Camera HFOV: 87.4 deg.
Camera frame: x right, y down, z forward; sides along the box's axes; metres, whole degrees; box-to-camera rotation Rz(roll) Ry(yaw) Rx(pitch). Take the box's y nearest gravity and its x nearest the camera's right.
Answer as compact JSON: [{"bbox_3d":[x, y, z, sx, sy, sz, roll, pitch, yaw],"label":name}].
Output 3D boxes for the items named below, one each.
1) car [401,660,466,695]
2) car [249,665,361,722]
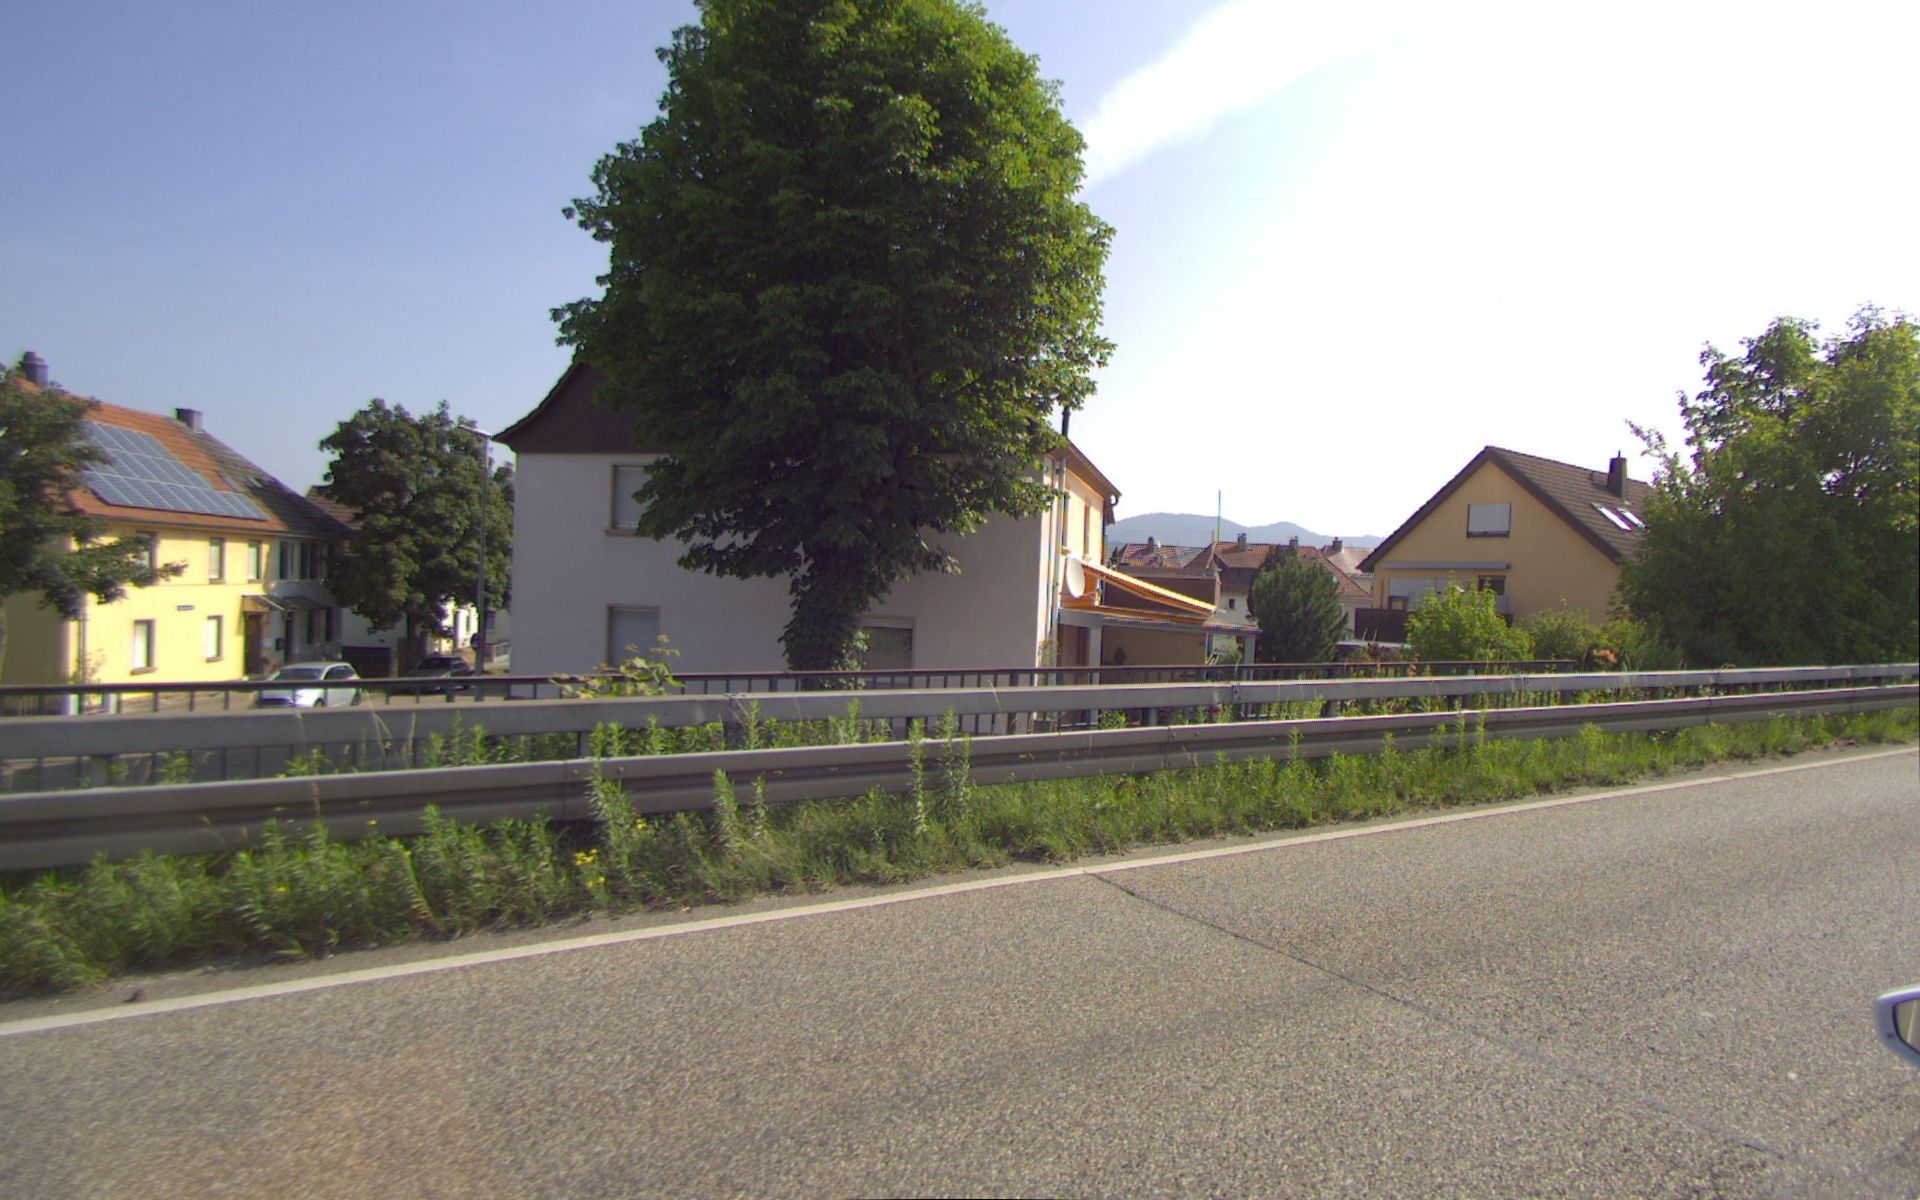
[{"bbox_3d":[-21.759,3.175,41.662,1.529,1.267,3.835,0,-2,-15],"label":"car"},{"bbox_3d":[-19.865,2.797,30.641,1.725,1.458,3.835,0,-2,-15],"label":"car"}]
